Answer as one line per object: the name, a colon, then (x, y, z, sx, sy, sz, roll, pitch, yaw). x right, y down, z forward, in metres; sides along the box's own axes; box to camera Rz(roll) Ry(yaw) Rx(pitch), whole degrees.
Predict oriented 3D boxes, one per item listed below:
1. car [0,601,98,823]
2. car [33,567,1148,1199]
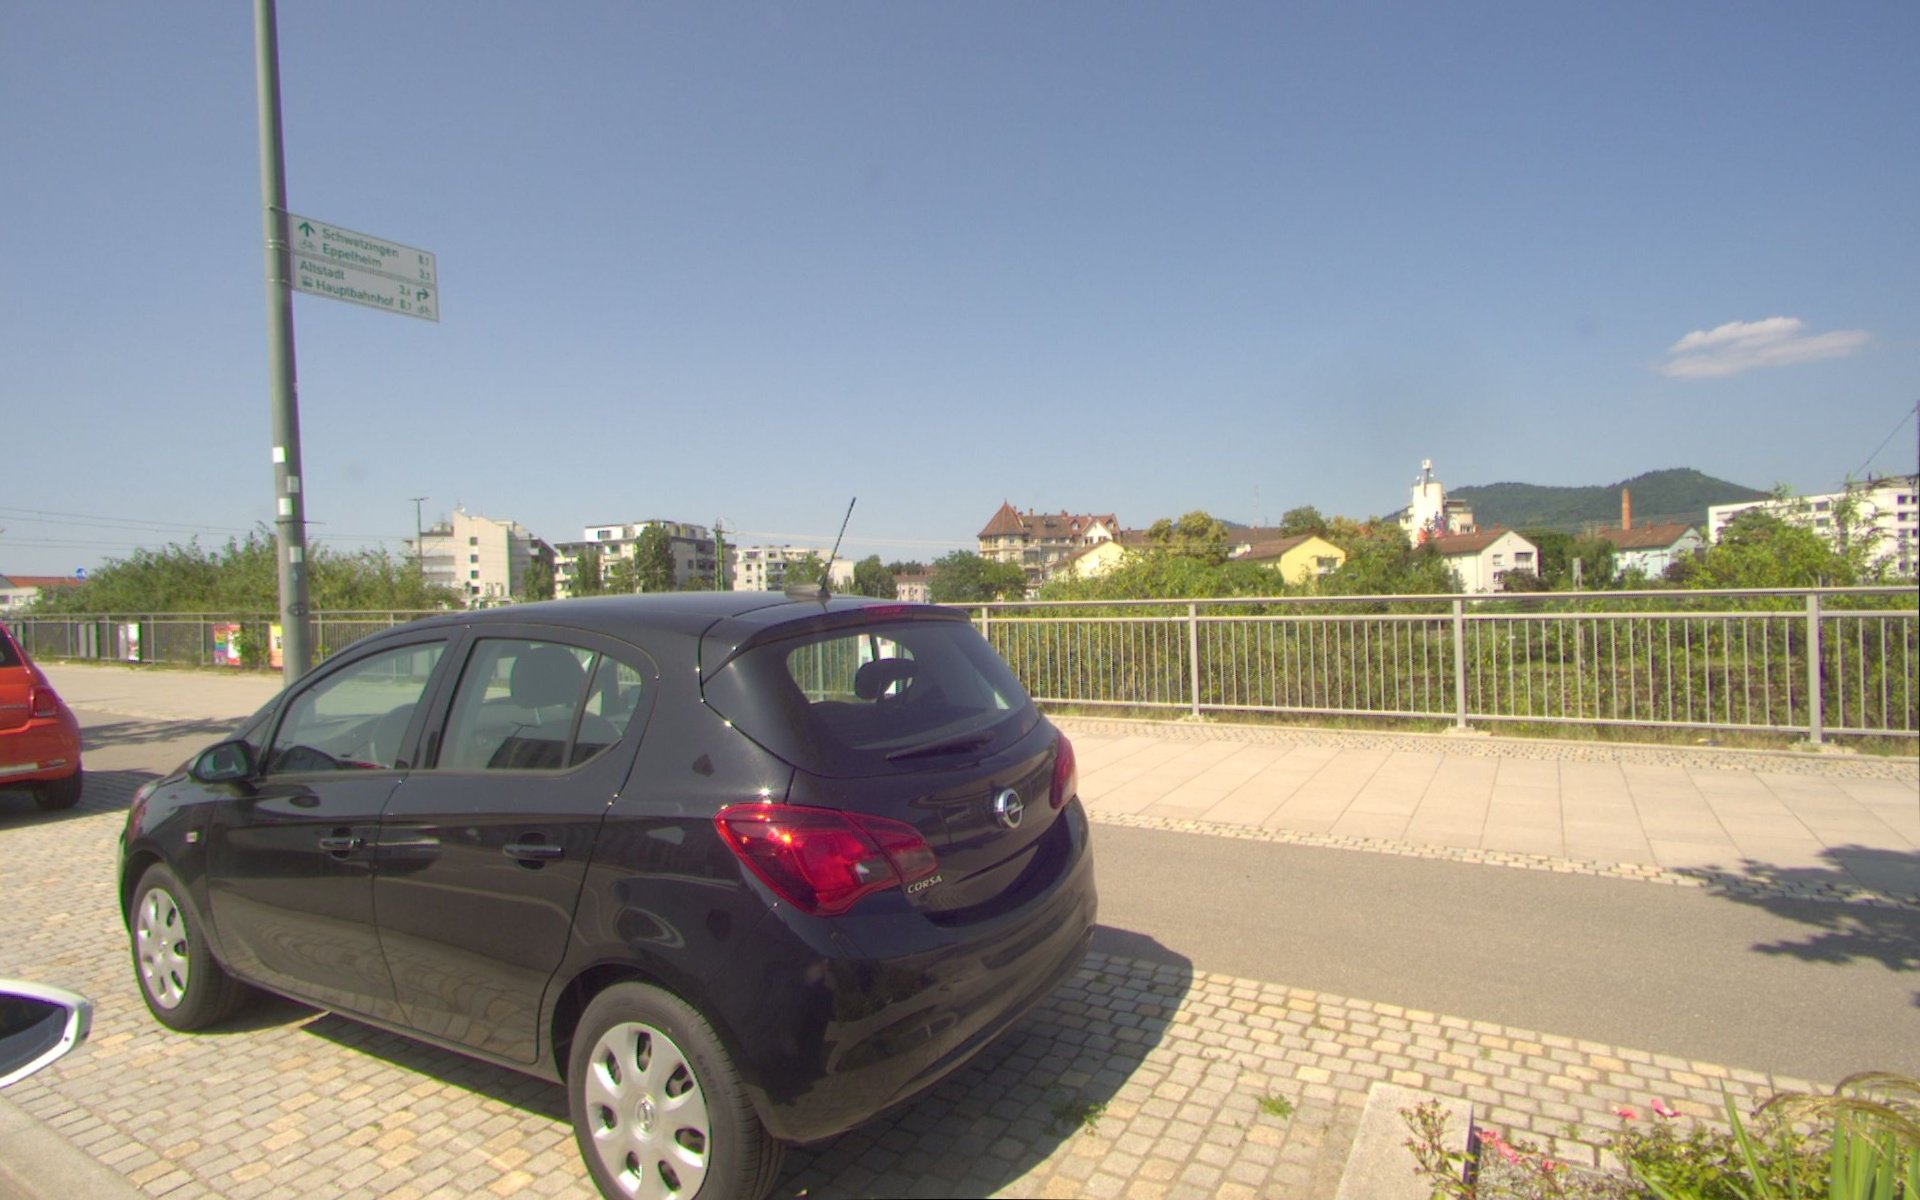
car: (-8.162, 0.805, 7.585, 3.305, 1.517, 1.605, -1, 2, 34)
car: (-1.502, 0.690, 3.589, 3.943, 1.445, 1.657, -1, 1, 32)
